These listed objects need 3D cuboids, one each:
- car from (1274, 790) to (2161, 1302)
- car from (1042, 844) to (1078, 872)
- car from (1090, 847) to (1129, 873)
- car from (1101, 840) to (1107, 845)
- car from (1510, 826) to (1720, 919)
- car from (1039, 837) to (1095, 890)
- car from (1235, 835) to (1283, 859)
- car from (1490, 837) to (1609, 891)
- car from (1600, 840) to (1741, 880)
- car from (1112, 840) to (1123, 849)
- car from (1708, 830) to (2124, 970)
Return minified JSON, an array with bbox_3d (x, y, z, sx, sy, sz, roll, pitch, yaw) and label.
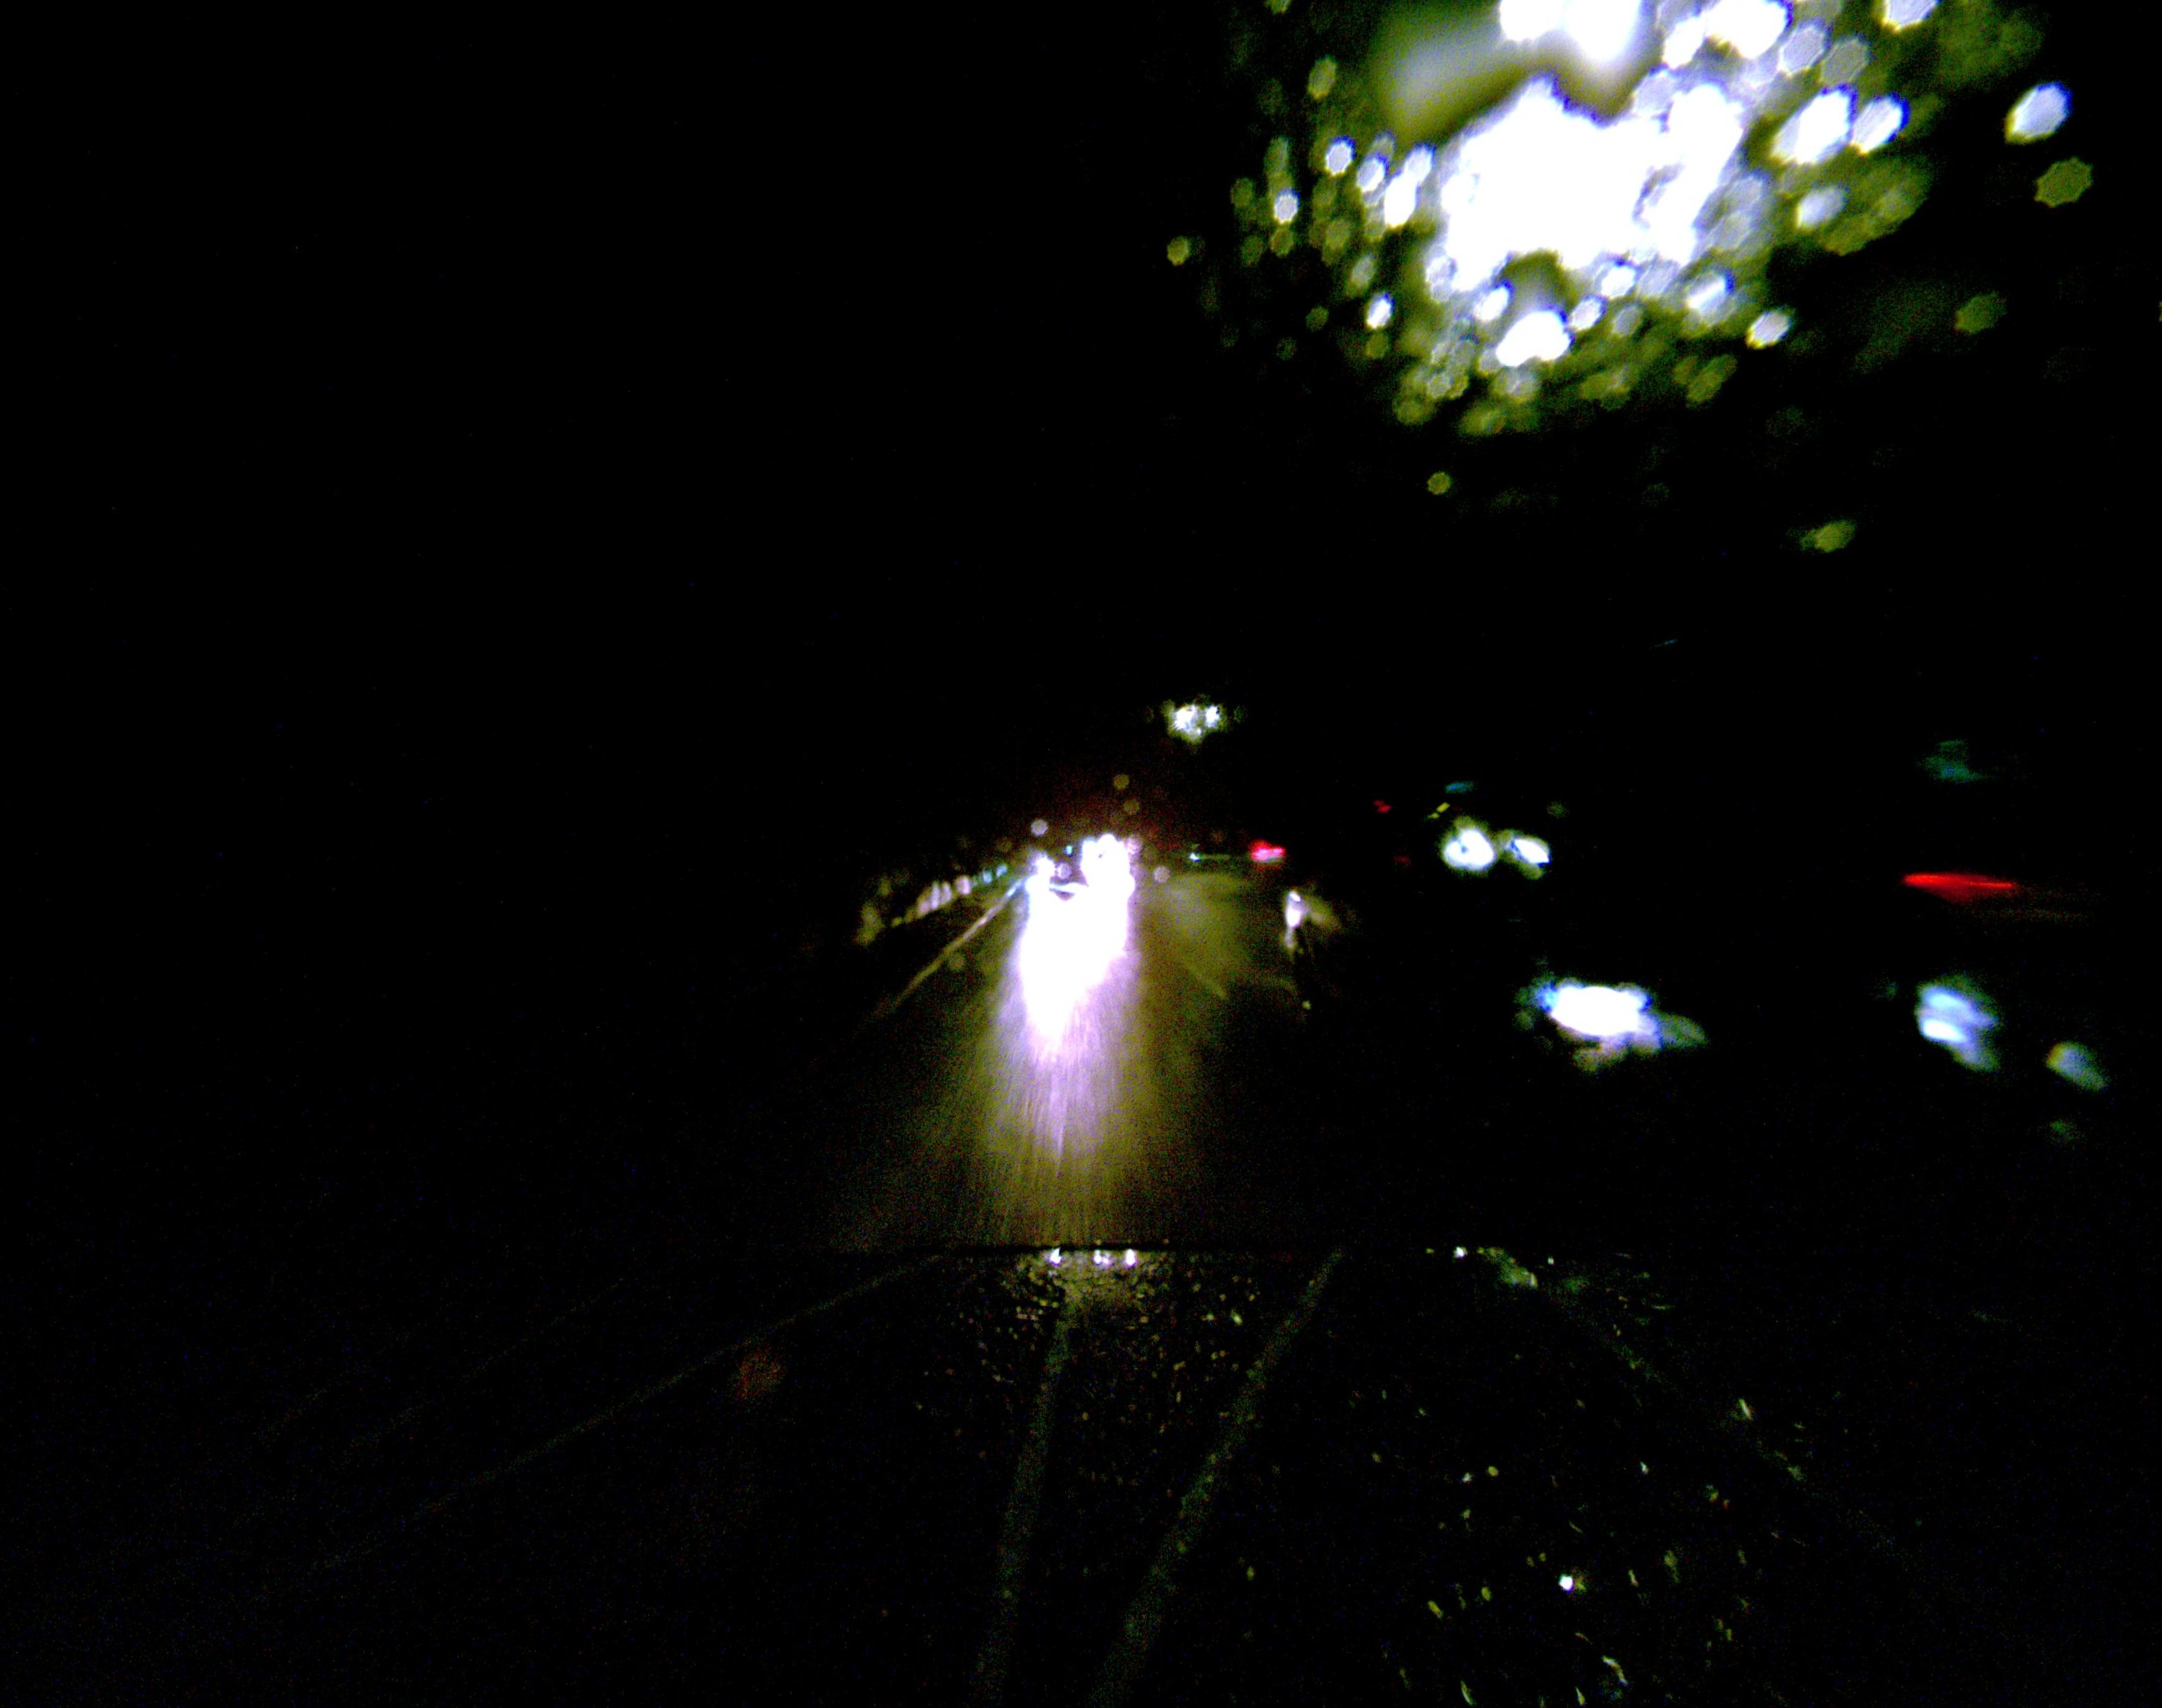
[{"bbox_3d":[2.768,0.604,4.989,1.914,1.694,4.938,-1,1,2],"label":"car"},{"bbox_3d":[-1.254,0.202,43.918,1.999,1.456,3.997,-1,2,-3],"label":"car"},{"bbox_3d":[1.758,0.343,47.976,1.999,1.456,3.997,-1,2,-4],"label":"car"},{"bbox_3d":[6.484,-3.242,212.931,1.750,1.495,4.891,-1,2,2],"label":"car"},{"bbox_3d":[10.905,0.280,15.910,1.685,1.682,3.947,-1,2,1],"label":"car"},{"bbox_3d":[-0.447,0.288,28.330,1.877,1.825,4.205,-1,1,1],"label":"car"},{"bbox_3d":[12.471,-0.522,53.480,1.797,1.562,4.910,-1,1,-5],"label":"car"},{"bbox_3d":[14.213,0.238,23.301,1.671,1.446,3.728,-1,2,7],"label":"car"},{"bbox_3d":[23.891,0.173,30.901,2.185,1.441,4.124,-3,3,-40],"label":"car"},{"bbox_3d":[6.370,-1.629,133.882,1.658,1.490,4.373,2,1,-1],"label":"car"},{"bbox_3d":[10.794,0.463,10.287,1.589,1.517,3.650,-1,2,0],"label":"car"}]
